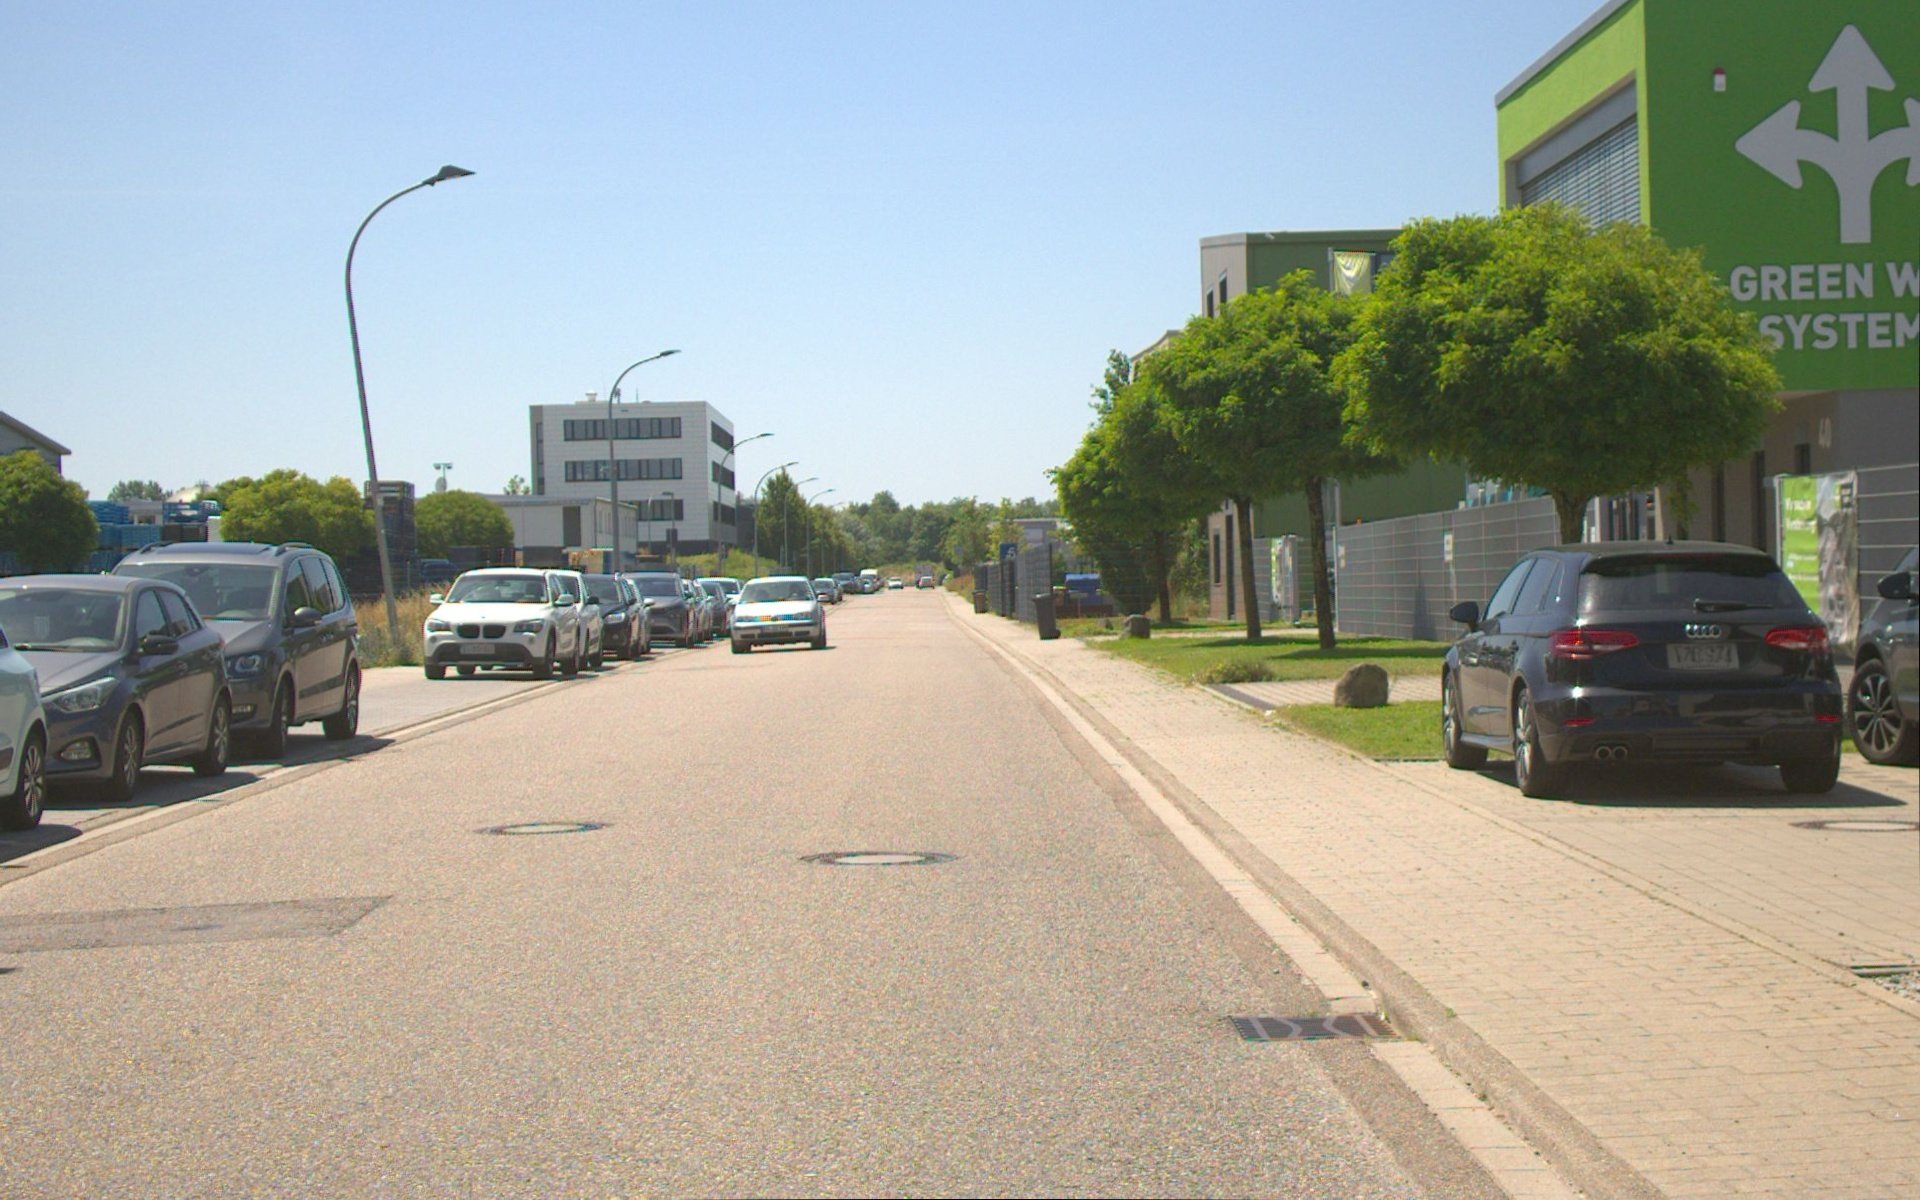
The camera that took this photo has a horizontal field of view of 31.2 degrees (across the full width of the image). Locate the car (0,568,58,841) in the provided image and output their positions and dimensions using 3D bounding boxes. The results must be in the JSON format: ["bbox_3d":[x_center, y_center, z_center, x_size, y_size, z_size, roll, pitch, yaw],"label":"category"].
[{"bbox_3d":[-6.200,0.591,18.850,1.634,1.531,3.658,0,1,-1],"label":"car"}]

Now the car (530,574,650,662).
[{"bbox_3d":[-6.582,0.295,61.483,1.763,1.512,4.380,0,0,-1],"label":"car"}]

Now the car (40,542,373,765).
[{"bbox_3d":[-6.183,0.386,28.709,1.802,1.714,4.622,0,1,-1],"label":"car"}]

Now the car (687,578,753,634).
[{"bbox_3d":[-7.000,0.174,100.511,1.769,1.587,4.360,0,0,-2],"label":"car"}]

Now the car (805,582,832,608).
[{"bbox_3d":[-8.463,-0.315,206.030,1.466,1.484,3.207,-1,0,0],"label":"car"}]

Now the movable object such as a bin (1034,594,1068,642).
[{"bbox_3d":[1.847,0.359,69.684,0.552,0.925,0.521,-5,0,9],"label":"movable object such as a bin"}]

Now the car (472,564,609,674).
[{"bbox_3d":[-6.571,0.278,54.196,1.787,1.651,3.769,0,0,-2],"label":"car"}]

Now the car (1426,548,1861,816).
[{"bbox_3d":[3.936,0.417,20.469,1.692,1.423,4.246,0,1,-1],"label":"car"}]

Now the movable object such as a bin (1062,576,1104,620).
[{"bbox_3d":[4.171,-0.058,116.400,1.334,1.454,0.949,-2,0,-1],"label":"movable object such as a bin"}]

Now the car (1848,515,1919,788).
[{"bbox_3d":[6.588,0.308,20.074,1.723,1.627,4.022,0,1,-1],"label":"car"}]

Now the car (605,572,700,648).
[{"bbox_3d":[-6.662,0.205,74.836,1.790,1.601,4.463,0,0,-1],"label":"car"}]

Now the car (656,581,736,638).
[{"bbox_3d":[-7.001,0.242,91.363,1.857,1.476,4.229,0,0,-1],"label":"car"}]

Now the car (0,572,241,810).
[{"bbox_3d":[-6.211,0.558,23.772,1.634,1.495,3.971,0,1,0],"label":"car"}]

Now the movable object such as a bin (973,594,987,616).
[{"bbox_3d":[0.912,0.221,158.337,0.552,0.925,0.522,-5,1,4],"label":"movable object such as a bin"}]

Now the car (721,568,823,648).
[{"bbox_3d":[-3.627,0.128,66.995,1.704,1.406,4.784,-3,1,-1],"label":"car"}]

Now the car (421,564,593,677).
[{"bbox_3d":[-6.408,0.268,49.061,1.787,1.537,4.364,0,0,1],"label":"car"}]

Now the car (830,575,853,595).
[{"bbox_3d":[-9.004,-1.123,261.011,1.644,1.484,3.207,-1,0,0],"label":"car"}]
